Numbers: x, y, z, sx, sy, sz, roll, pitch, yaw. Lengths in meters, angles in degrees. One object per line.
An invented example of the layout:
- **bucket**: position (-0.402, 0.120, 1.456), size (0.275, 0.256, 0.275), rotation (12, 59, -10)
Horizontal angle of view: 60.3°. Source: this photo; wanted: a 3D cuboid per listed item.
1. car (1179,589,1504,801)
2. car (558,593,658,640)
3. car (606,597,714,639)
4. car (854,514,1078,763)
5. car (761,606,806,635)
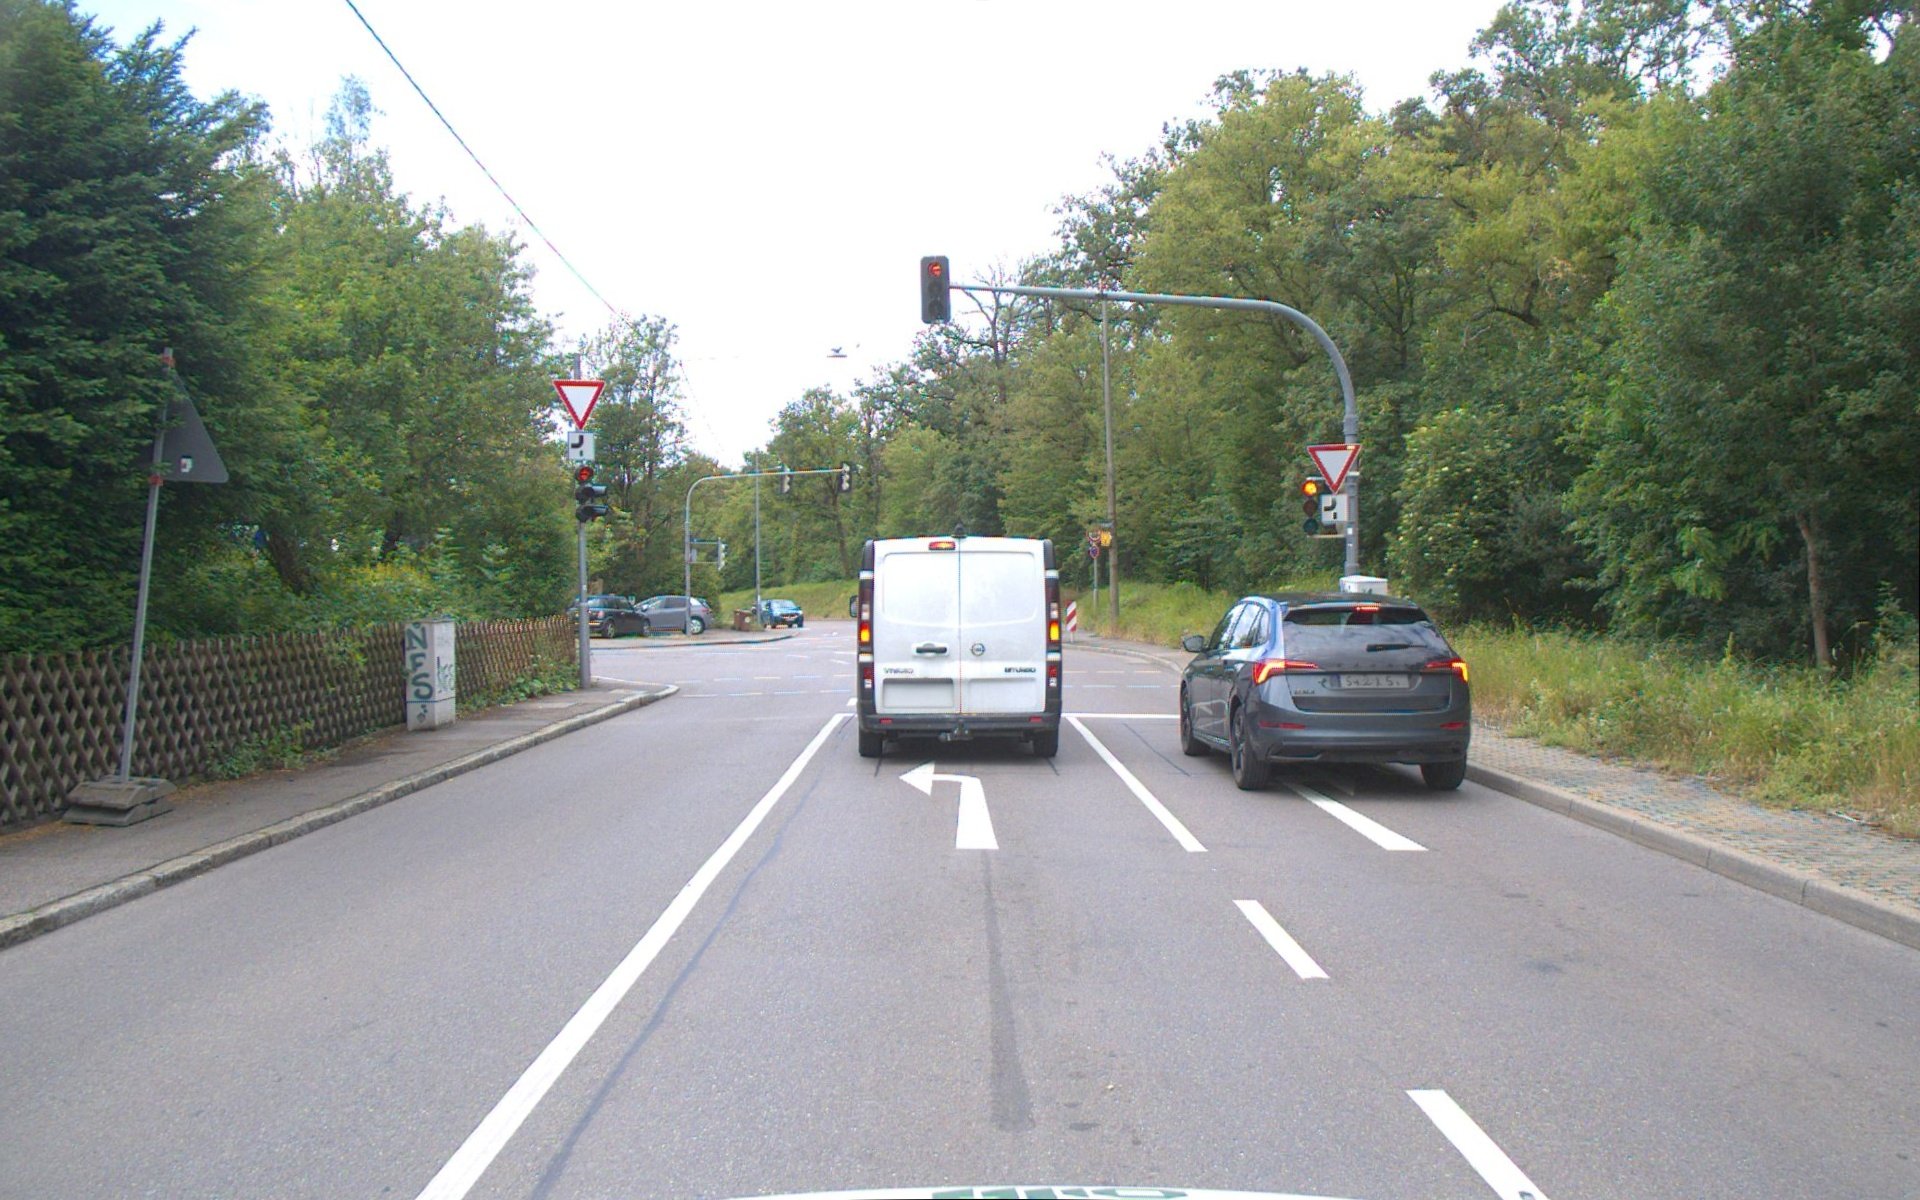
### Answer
- **car**: position (2.959, 0.660, 13.684), size (1.756, 1.476, 4.000), rotation (-1, 0, 0)
- **car**: position (-11.777, 0.557, 55.530), size (1.662, 1.474, 3.544), rotation (2, 0, 19)
- **car**: position (-11.966, 0.695, 65.890), size (4.022, 1.580, 1.846), rotation (-1, 1, -18)
- **car**: position (-0.046, 0.320, 16.388), size (1.878, 2.089, 4.612), rotation (1, 0, -3)
- **car**: position (-10.128, 1.154, 94.559), size (1.828, 1.533, 3.980), rotation (-1, 1, -17)
